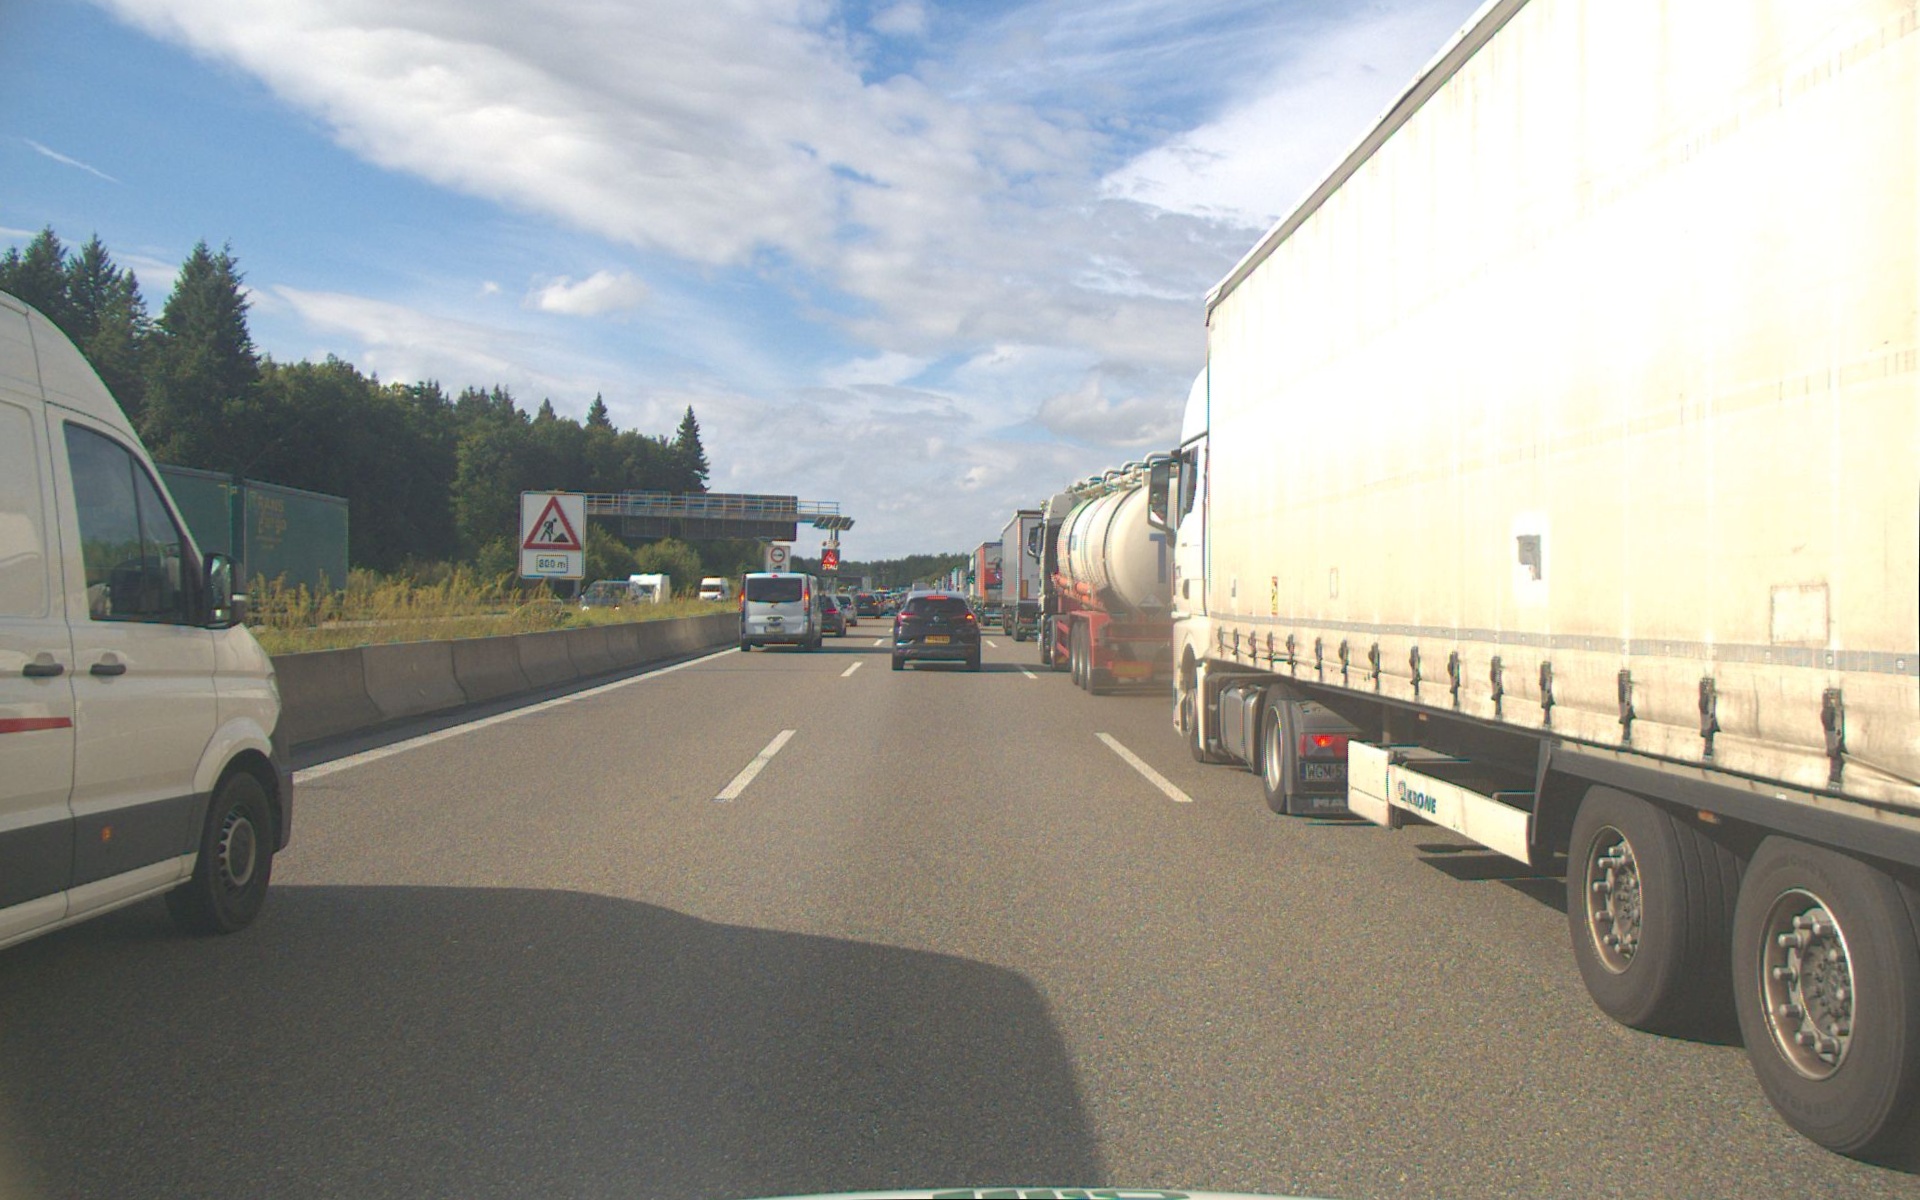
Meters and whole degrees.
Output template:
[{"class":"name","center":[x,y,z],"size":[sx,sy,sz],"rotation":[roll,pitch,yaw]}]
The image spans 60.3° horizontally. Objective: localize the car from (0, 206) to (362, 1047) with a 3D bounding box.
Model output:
[{"class":"car","center":[-4.006,0.082,5.178],"size":[1.974,2.644,6.182],"rotation":[0,1,0]}]

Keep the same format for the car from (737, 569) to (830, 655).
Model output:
[{"class":"car","center":[-4.597,0.296,43.752],"size":[1.894,2.013,5.097],"rotation":[4,0,-1]}]

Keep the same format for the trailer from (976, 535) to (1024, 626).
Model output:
[{"class":"trailer","center":[1.956,-0.909,83.831],"size":[2.106,4.333,8.439],"rotation":[1,0,0]}]

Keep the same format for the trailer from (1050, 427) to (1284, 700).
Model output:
[{"class":"trailer","center":[3.141,-0.484,28.070],"size":[2.489,3.718,10.624],"rotation":[1,0,-1]}]

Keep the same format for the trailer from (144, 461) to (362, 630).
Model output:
[{"class":"trailer","center":[-19.683,-1.381,46.688],"size":[2.670,4.318,8.549],"rotation":[0,0,-2]}]

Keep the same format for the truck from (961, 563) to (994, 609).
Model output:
[{"class":"truck","center":[1.184,-0.965,114.524],"size":[1.953,2.982,4.980],"rotation":[4,0,-1]}]

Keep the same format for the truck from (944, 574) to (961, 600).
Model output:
[{"class":"truck","center":[-0.914,-1.579,203.184],"size":[1.953,3.105,4.980],"rotation":[4,0,-1]}]

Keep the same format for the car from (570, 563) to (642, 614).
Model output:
[{"class":"car","center":[-12.314,-0.372,57.719],"size":[1.635,1.609,3.999],"rotation":[4,0,-1]}]

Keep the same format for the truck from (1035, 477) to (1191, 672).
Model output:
[{"class":"truck","center":[3.023,-0.471,34.408],"size":[2.482,3.646,6.728],"rotation":[1,0,-1]}]

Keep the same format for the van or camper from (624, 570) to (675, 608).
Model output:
[{"class":"van or camper","center":[-20.866,-0.711,111.401],"size":[2.409,2.456,5.850],"rotation":[1,0,-2]}]

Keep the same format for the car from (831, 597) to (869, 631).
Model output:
[{"class":"car","center":[-5.081,0.638,76.689],"size":[1.470,1.420,3.475],"rotation":[4,0,-1]}]

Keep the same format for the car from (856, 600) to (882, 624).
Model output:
[{"class":"car","center":[-5.550,0.727,101.281],"size":[1.406,1.333,3.532],"rotation":[4,0,-2]}]

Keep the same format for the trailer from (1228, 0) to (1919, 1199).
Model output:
[{"class":"trailer","center":[3.556,-0.664,6.692],"size":[2.648,4.153,12.941],"rotation":[0,0,-1]}]

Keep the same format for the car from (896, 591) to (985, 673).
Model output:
[{"class":"car","center":[-0.412,0.599,33.728],"size":[1.662,1.509,4.159],"rotation":[1,1,-1]}]

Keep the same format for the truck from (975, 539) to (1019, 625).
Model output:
[{"class":"truck","center":[1.921,-0.897,87.853],"size":[2.090,4.357,6.337],"rotation":[1,0,-1]}]

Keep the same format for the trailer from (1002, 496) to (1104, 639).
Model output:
[{"class":"trailer","center":[2.982,-0.966,55.847],"size":[2.745,4.318,11.055],"rotation":[0,0,0]}]

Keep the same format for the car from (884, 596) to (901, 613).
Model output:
[{"class":"car","center":[-5.726,0.357,140.793],"size":[1.333,1.323,3.084],"rotation":[4,0,-1]}]

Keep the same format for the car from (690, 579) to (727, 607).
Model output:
[{"class":"car","center":[-22.063,-0.603,145.362],"size":[2.269,2.231,6.861],"rotation":[4,0,-2]}]

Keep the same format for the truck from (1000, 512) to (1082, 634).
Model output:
[{"class":"truck","center":[2.964,-0.944,62.253],"size":[2.729,4.321,6.459],"rotation":[0,0,0]}]

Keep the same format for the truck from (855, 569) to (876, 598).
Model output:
[{"class":"truck","center":[-12.556,-2.192,219.857],"size":[2.297,3.656,6.304],"rotation":[4,0,-1]}]

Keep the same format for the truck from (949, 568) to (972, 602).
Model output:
[{"class":"truck","center":[0.053,-1.426,158.671],"size":[1.953,3.105,4.980],"rotation":[4,0,-1]}]

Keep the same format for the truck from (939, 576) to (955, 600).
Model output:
[{"class":"truck","center":[-1.816,-1.624,230.384],"size":[1.953,3.105,4.980],"rotation":[4,0,-1]}]

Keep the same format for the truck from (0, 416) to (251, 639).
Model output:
[{"class":"truck","center":[-19.385,-1.407,37.231],"size":[2.656,4.318,10.340],"rotation":[0,0,-2]}]

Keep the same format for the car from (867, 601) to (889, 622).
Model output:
[{"class":"car","center":[-5.716,0.775,115.594],"size":[1.406,1.333,3.532],"rotation":[4,0,-2]}]

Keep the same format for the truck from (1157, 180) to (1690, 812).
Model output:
[{"class":"truck","center":[3.431,-0.670,14.033],"size":[2.653,4.131,6.360],"rotation":[0,0,-1]}]

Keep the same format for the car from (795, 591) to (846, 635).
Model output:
[{"class":"car","center":[-4.759,0.438,56.742],"size":[1.469,1.420,3.475],"rotation":[2,0,-1]}]

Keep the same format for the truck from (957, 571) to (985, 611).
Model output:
[{"class":"truck","center":[0.865,-0.713,133.102],"size":[1.953,2.982,4.980],"rotation":[4,0,-1]}]
